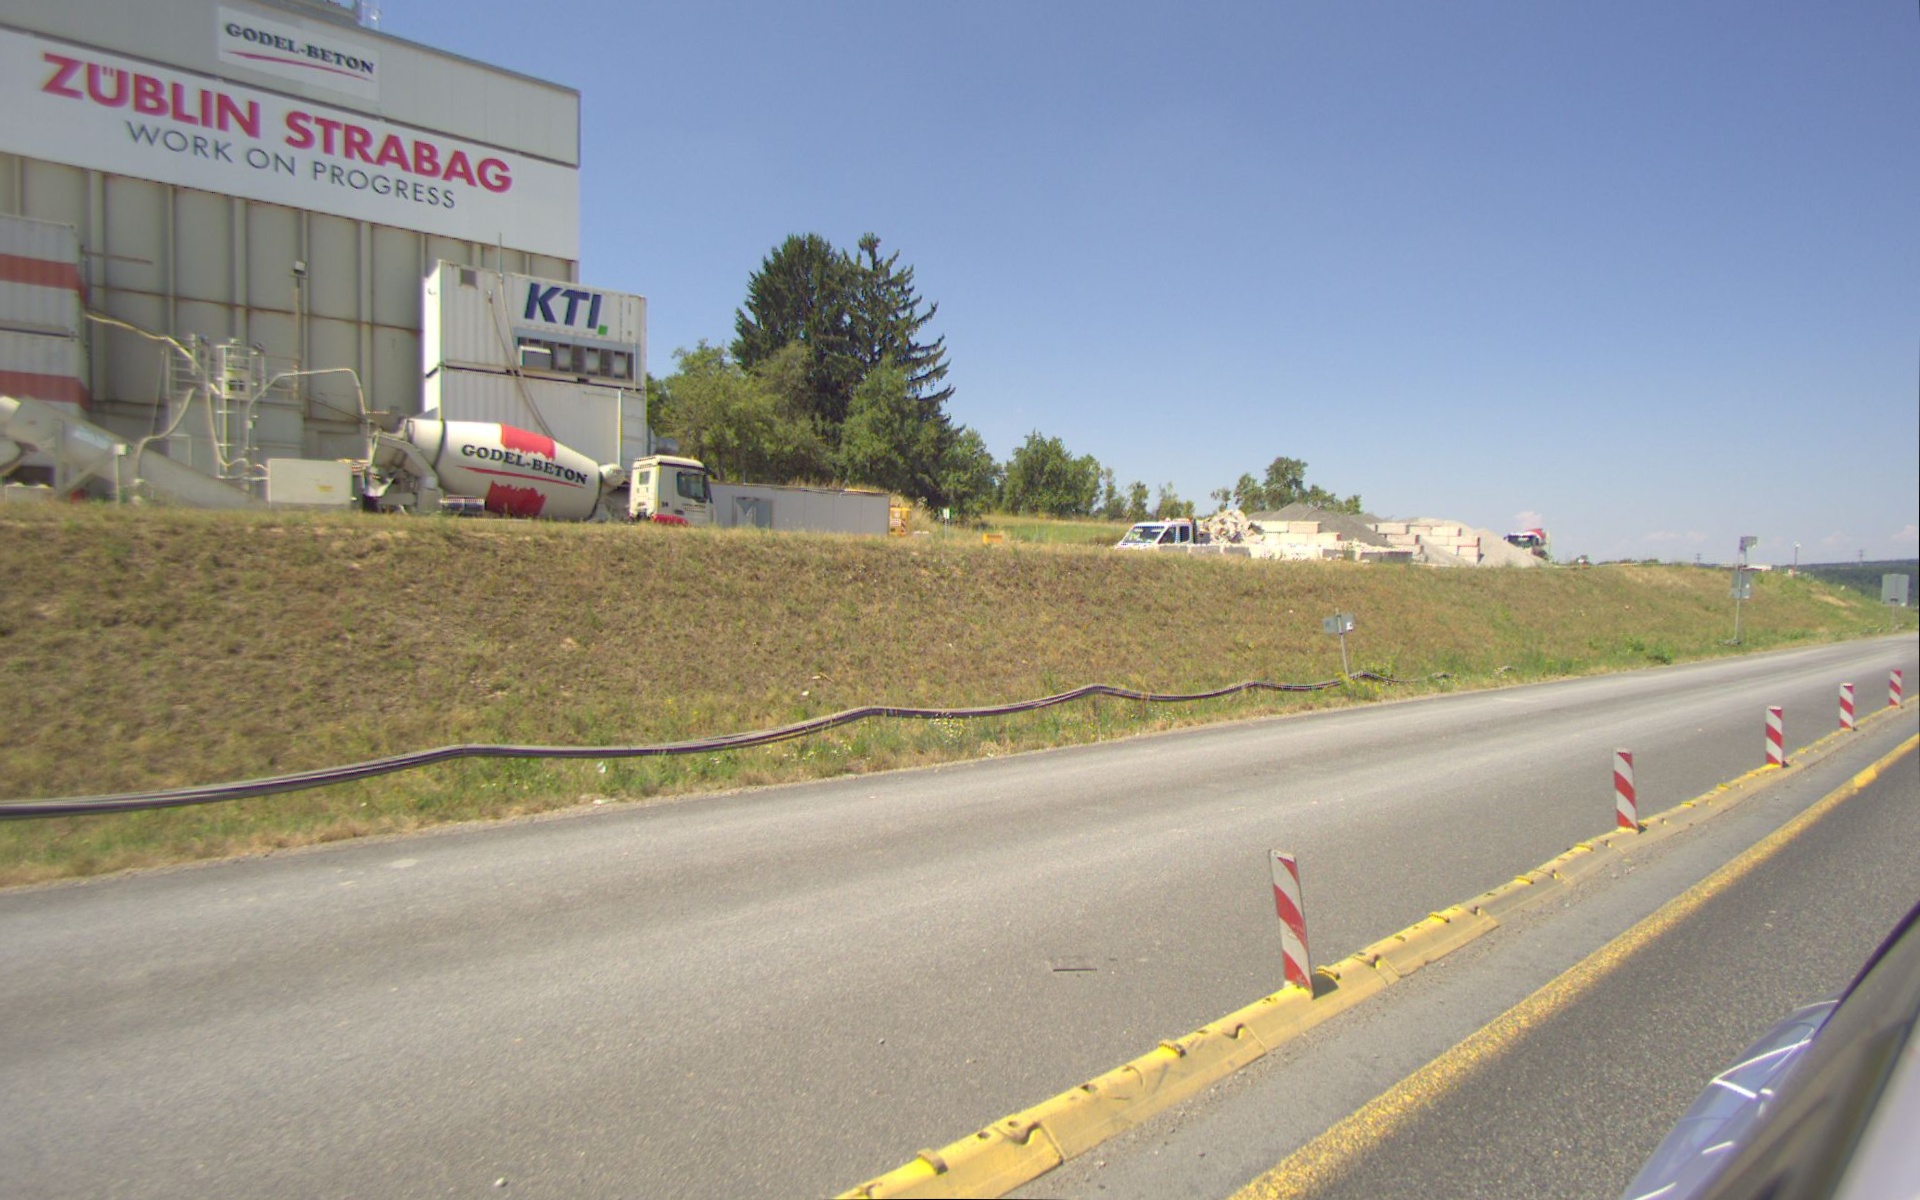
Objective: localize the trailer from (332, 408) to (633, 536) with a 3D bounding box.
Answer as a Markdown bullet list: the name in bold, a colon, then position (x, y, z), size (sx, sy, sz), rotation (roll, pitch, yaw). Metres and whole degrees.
- **trailer**: position (-12.223, -3.137, 26.307), size (6.809, 2.678, 1.999), rotation (-1, 0, -38)

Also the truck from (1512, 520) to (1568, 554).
- **truck**: position (55.150, -5.897, 96.178), size (8.915, 2.855, 2.218), rotation (-1, 0, -44)

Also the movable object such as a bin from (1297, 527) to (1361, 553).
- **movable object such as a bin**: position (11.085, -1.784, 30.379), size (2.210, 0.690, 0.837), rotation (-1, 0, -41)

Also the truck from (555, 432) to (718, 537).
- **truck**: position (-9.135, -3.169, 28.706), size (3.966, 2.577, 2.022), rotation (-1, 0, -37)

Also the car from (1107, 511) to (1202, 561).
- **car**: position (7.747, -2.499, 40.180), size (3.539, 1.785, 1.989), rotation (-1, 0, -41)
